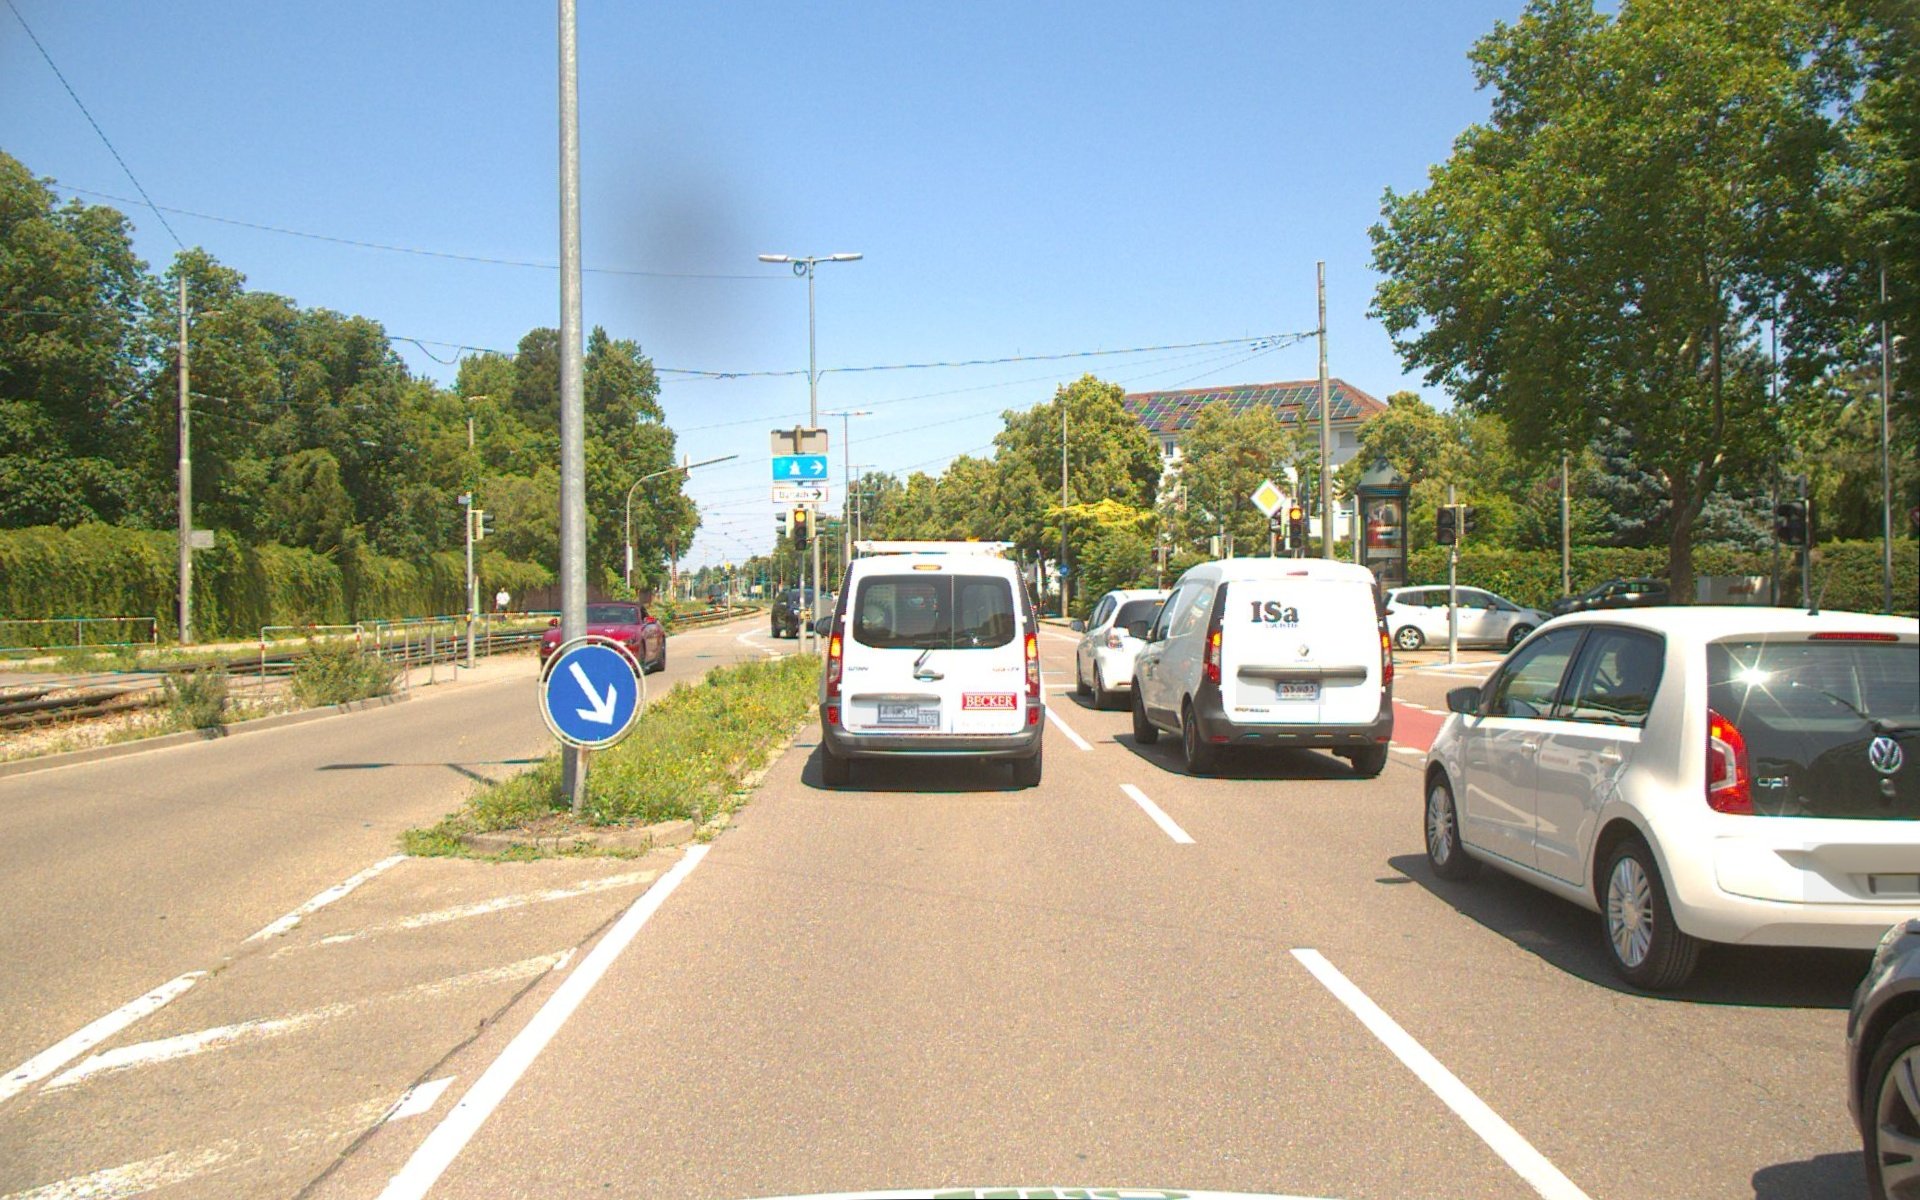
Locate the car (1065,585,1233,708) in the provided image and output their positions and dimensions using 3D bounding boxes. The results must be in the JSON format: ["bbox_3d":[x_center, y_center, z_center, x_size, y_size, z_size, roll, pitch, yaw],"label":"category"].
[{"bbox_3d":[2.504,0.571,22.768,1.720,1.512,3.998,-1,0,-2],"label":"car"}]

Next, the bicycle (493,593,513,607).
[{"bbox_3d":[-22.164,-0.009,80.212,0.550,0.659,1.720,-1,0,-1],"label":"bicycle"}]

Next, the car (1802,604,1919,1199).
[{"bbox_3d":[3.045,0.753,1.993,1.759,1.475,4.417,-1,0,-1],"label":"car"}]

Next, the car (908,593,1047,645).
[{"bbox_3d":[0.464,0.509,46.892,3.930,1.403,1.535,0,0,42],"label":"car"}]

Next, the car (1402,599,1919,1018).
[{"bbox_3d":[3.364,0.745,7.692,1.574,1.477,3.519,0,0,-2],"label":"car"}]

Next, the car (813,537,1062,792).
[{"bbox_3d":[-0.245,0.466,14.113,1.829,1.868,3.847,0,0,-3],"label":"car"}]

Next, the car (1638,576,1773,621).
[{"bbox_3d":[26.166,-0.054,58.163,3.902,1.534,2.001,-1,0,6],"label":"car"}]

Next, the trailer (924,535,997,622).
[{"bbox_3d":[-0.083,-1.046,83.927,3.456,4.121,8.974,-1,0,-2],"label":"trailer"}]

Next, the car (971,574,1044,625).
[{"bbox_3d":[1.946,-0.021,69.297,1.961,2.049,3.983,-1,0,-16],"label":"car"}]

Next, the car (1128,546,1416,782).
[{"bbox_3d":[2.696,0.496,15.191,1.676,1.862,4.011,0,0,-3],"label":"car"}]

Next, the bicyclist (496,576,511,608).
[{"bbox_3d":[-22.160,-0.385,80.260,0.546,1.504,0.561,-1,0,-2],"label":"bicyclist"}]

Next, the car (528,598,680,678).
[{"bbox_3d":[-6.687,0.667,31.552,1.943,1.382,4.537,-1,0,-1],"label":"car"}]

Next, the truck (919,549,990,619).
[{"bbox_3d":[-0.400,-0.887,92.784,3.505,3.696,8.803,-1,0,-3],"label":"truck"}]

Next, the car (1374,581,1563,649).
[{"bbox_3d":[12.718,0.371,41.636,4.346,1.645,2.002,-1,0,12],"label":"car"}]

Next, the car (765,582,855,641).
[{"bbox_3d":[-5.088,0.353,55.795,1.966,1.892,3.973,-1,0,-22],"label":"car"}]
